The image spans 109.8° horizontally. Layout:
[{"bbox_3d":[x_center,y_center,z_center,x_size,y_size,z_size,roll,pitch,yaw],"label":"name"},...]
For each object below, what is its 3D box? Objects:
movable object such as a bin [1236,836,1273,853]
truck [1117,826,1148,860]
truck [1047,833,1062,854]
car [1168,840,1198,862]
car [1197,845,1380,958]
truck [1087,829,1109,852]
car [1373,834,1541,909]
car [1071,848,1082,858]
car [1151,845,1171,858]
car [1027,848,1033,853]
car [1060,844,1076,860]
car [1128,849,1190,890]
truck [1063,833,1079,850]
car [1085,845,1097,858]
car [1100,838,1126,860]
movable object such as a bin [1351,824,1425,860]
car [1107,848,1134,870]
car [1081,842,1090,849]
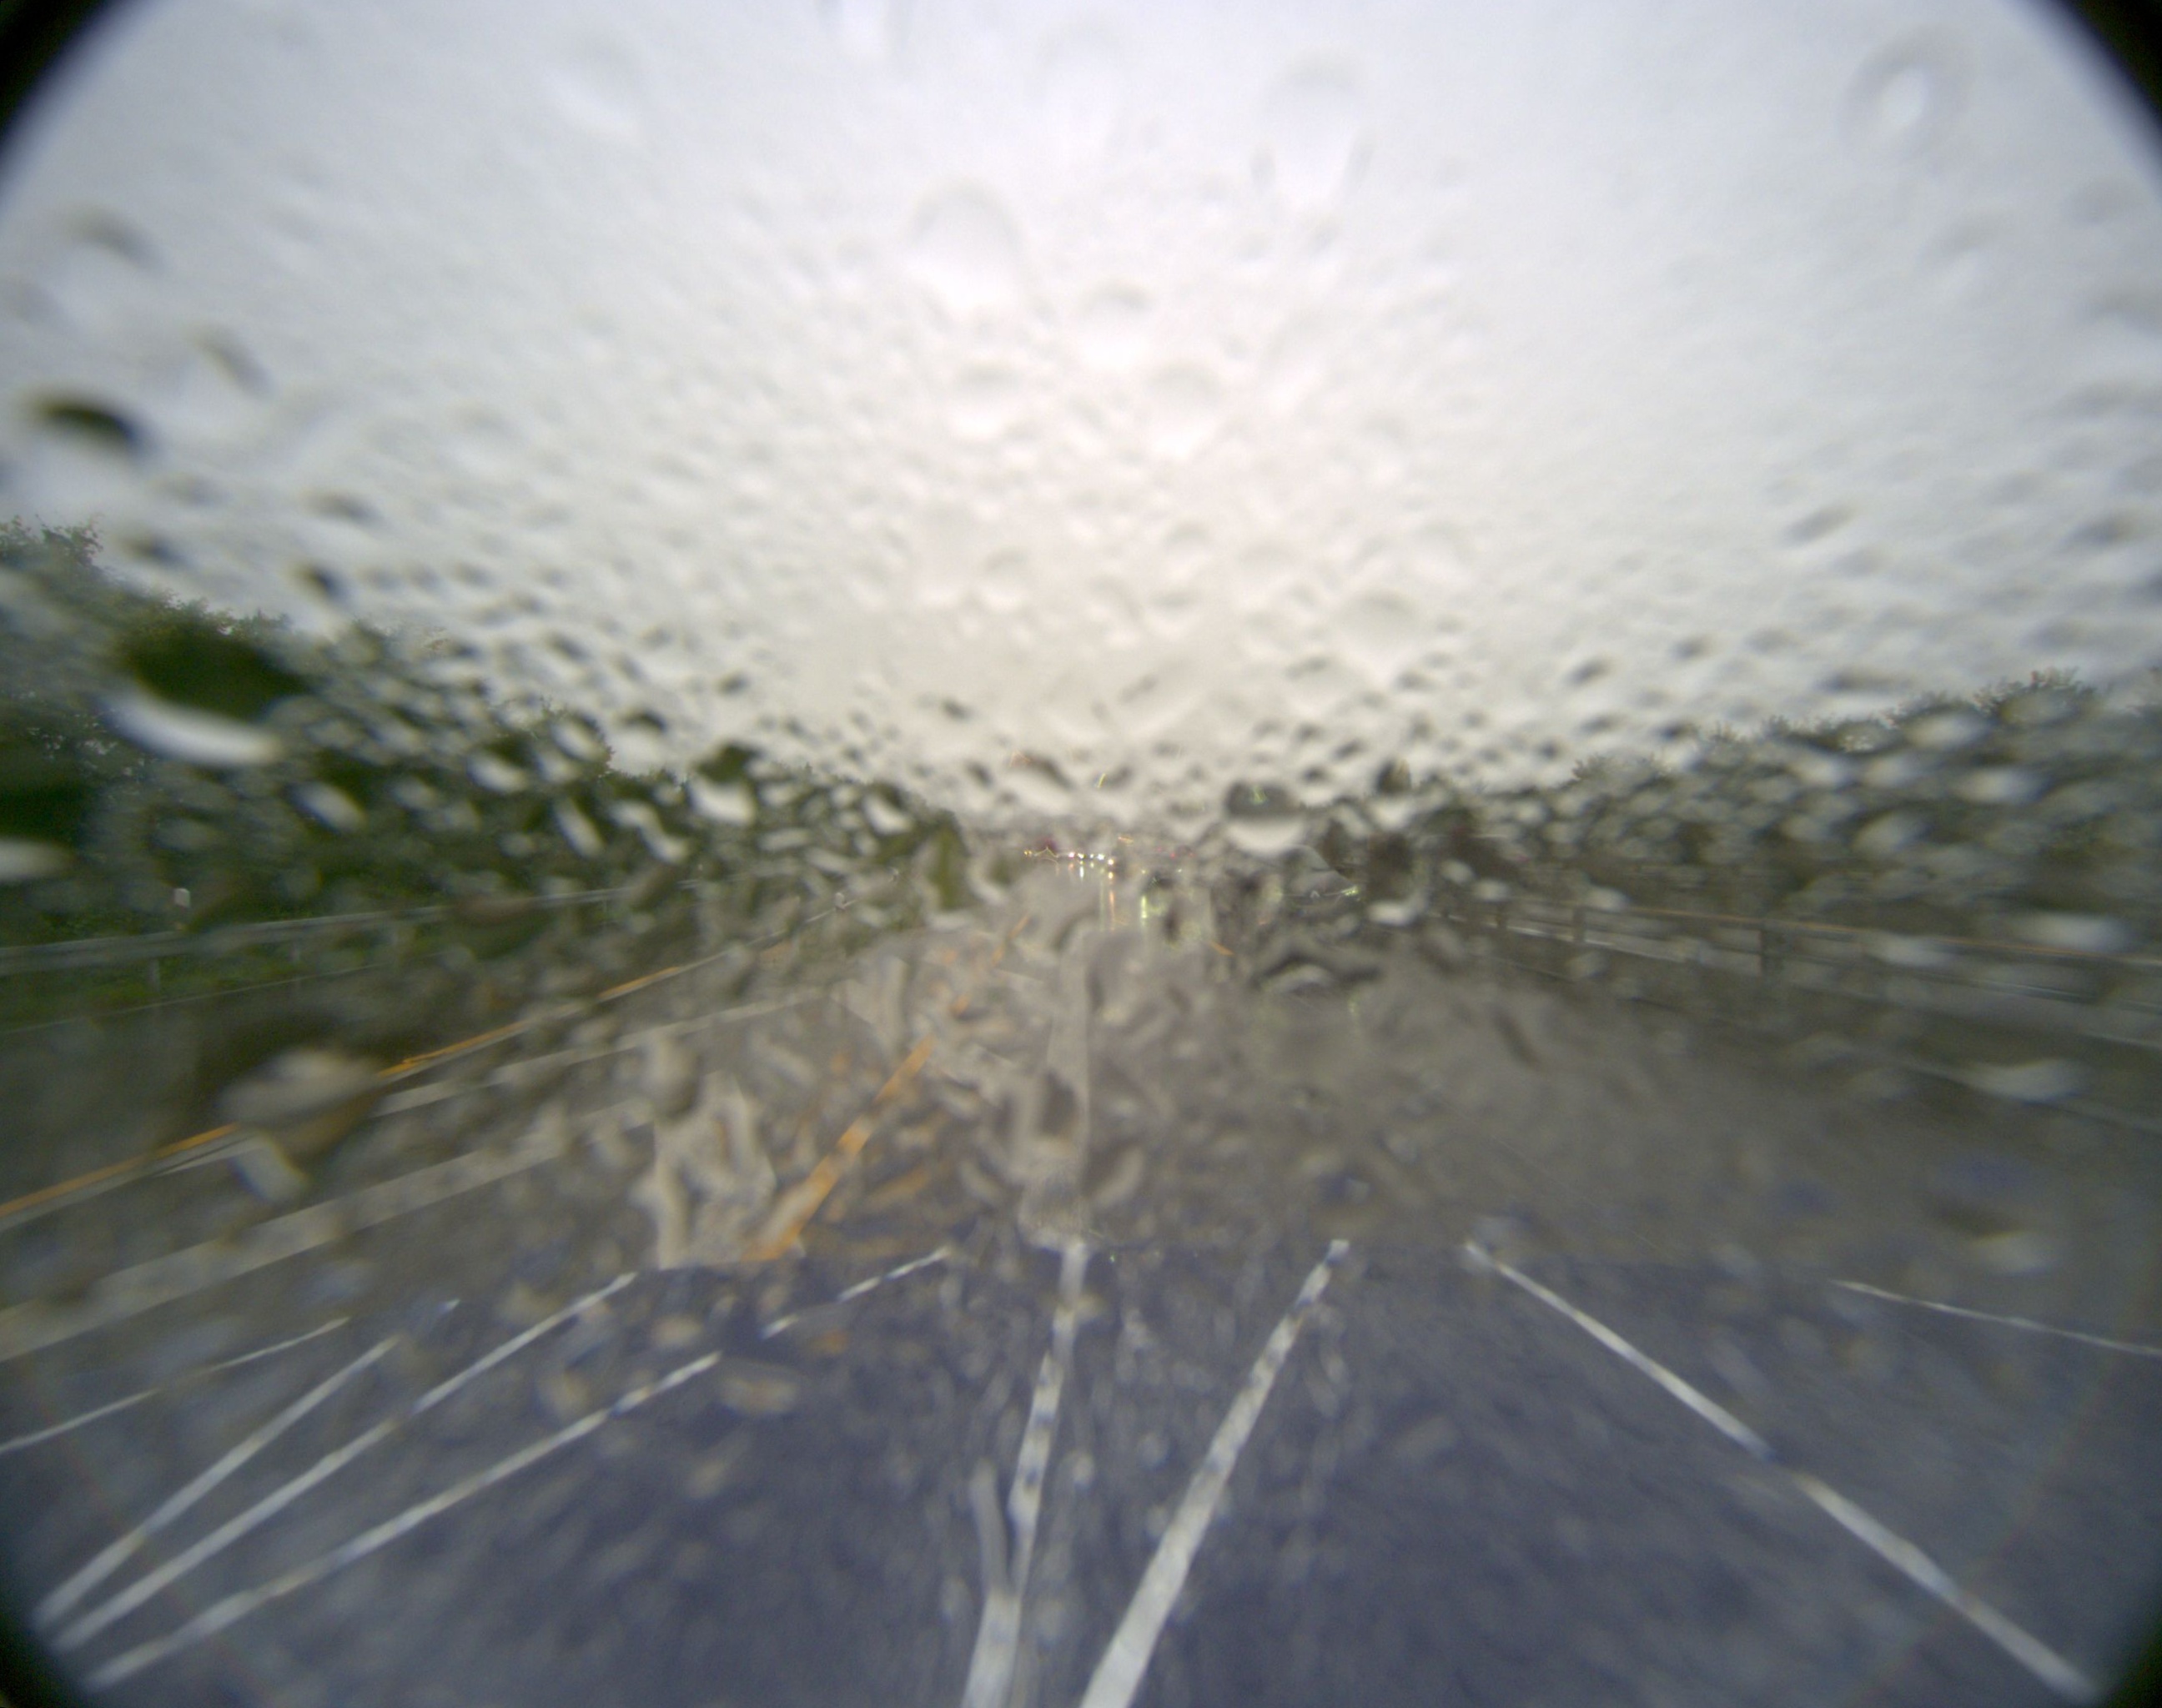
[{"bbox_3d":[24.112,-1.300,105.934,3.448,2.281,5.097,-2,1,-6],"label":"movable object such as a bin"},{"bbox_3d":[7.736,-1.667,116.558,3.283,4.809,15.982,-2,1,-1],"label":"truck"},{"bbox_3d":[-5.133,-2.035,148.737,2.484,4.061,8.702,-2,1,0],"label":"truck"},{"bbox_3d":[8.752,-0.294,65.552,1.896,1.796,5.054,-2,1,0],"label":"car"},{"bbox_3d":[3.348,0.669,13.222,1.998,1.576,4.413,-2,1,1],"label":"car"},{"bbox_3d":[3.739,-2.975,171.691,3.283,4.809,15.978,-2,1,-4],"label":"truck"},{"bbox_3d":[9.842,0.387,20.453,1.956,1.707,5.102,-2,1,0],"label":"car"},{"bbox_3d":[-0.721,-0.245,132.397,1.845,1.586,3.999,-2,1,0],"label":"car"},{"bbox_3d":[9.033,-0.286,86.150,1.705,1.420,3.832,-2,1,-1],"label":"car"},{"bbox_3d":[-16.738,-1.145,248.588,1.751,1.579,3.999,-2,1,0],"label":"car"},{"bbox_3d":[-1.682,-0.269,98.177,1.882,2.002,3.999,-2,1,-2],"label":"car"},{"bbox_3d":[3.157,0.570,31.552,1.999,1.489,4.630,-2,1,-1],"label":"car"},{"bbox_3d":[-3.152,-3.795,232.747,3.593,4.809,15.978,-2,1,-4],"label":"truck"},{"bbox_3d":[1.447,-0.408,110.055,1.695,1.740,3.999,-2,1,0],"label":"car"},{"bbox_3d":[3.091,-0.506,74.335,2.211,2.002,5.562,-2,1,-1],"label":"car"},{"bbox_3d":[25.924,-1.041,64.565,3.774,2.782,6.329,-2,1,1],"label":"movable object such as a bin"},{"bbox_3d":[3.064,0.416,58.511,1.978,1.586,4.310,-1,-1,3],"label":"car"},{"bbox_3d":[1.121,-2.136,193.744,1.897,1.796,5.053,-2,1,-3],"label":"car"}]
